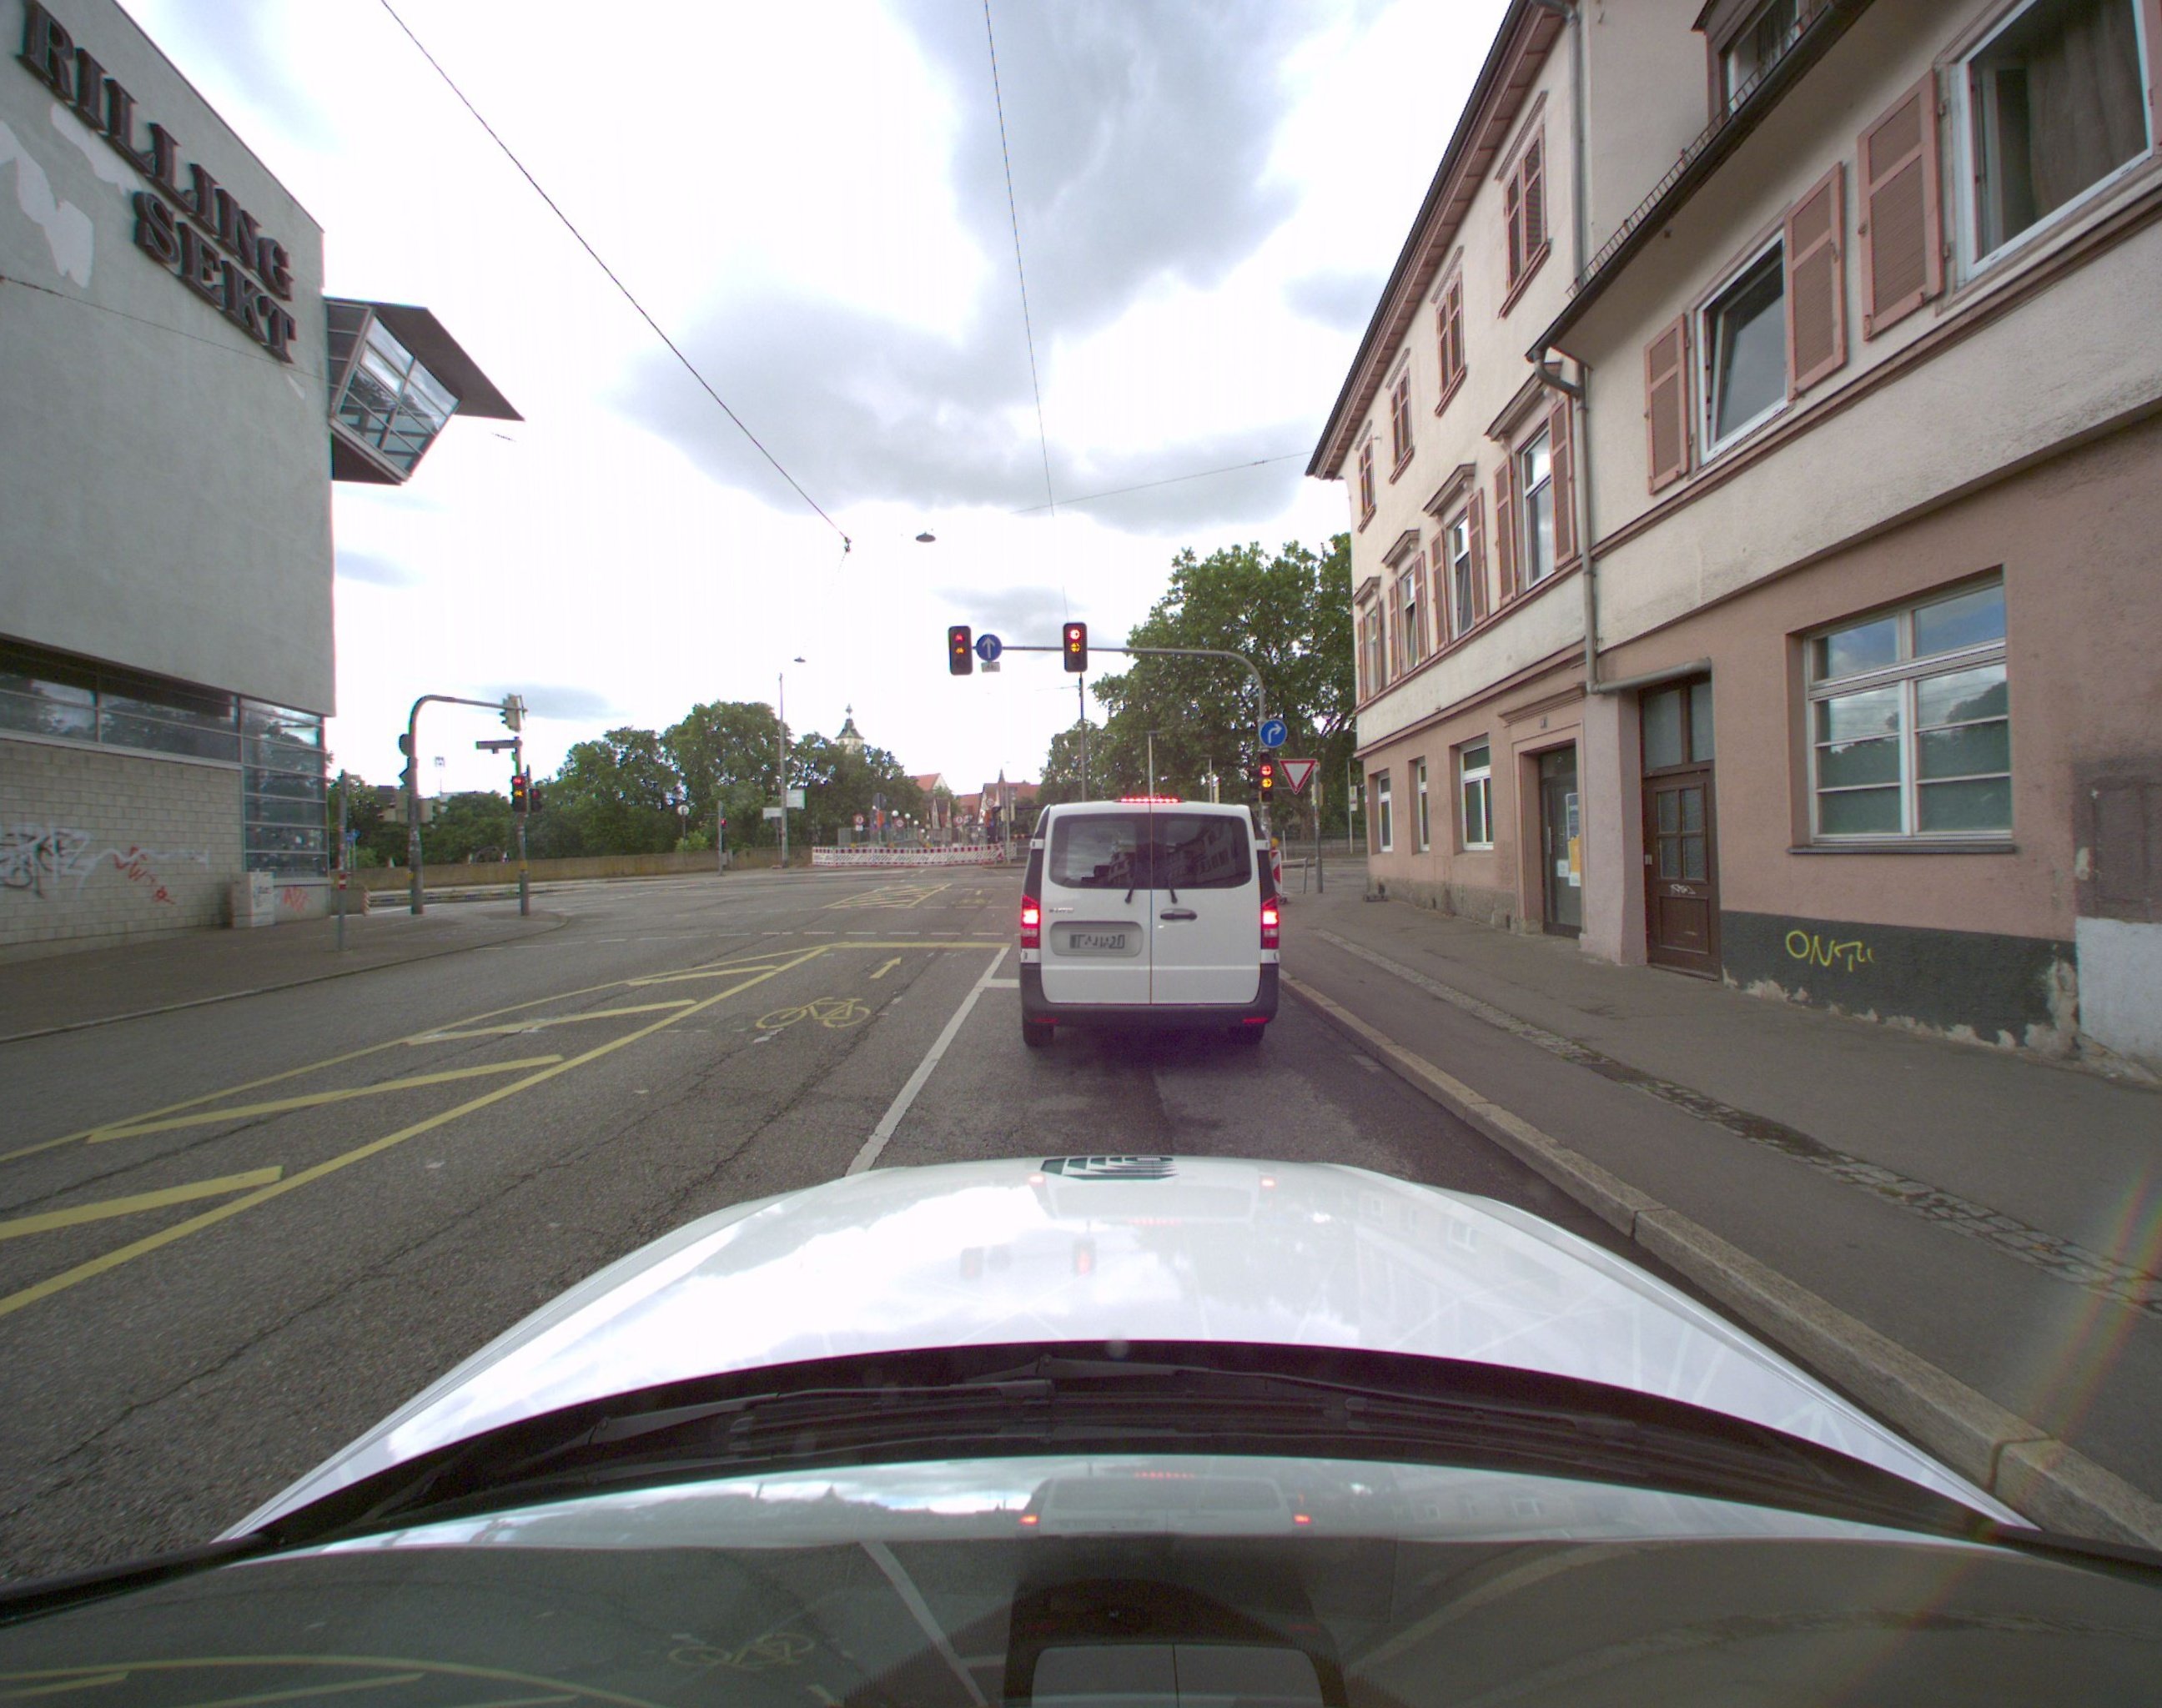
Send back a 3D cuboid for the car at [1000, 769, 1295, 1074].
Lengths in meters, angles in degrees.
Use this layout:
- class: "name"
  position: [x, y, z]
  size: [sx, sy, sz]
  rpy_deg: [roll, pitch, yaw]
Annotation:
- class: "car"
  position: [0.519, 0.396, 7.751]
  size: [1.943, 2.013, 4.700]
  rpy_deg: [0, 1, 2]
